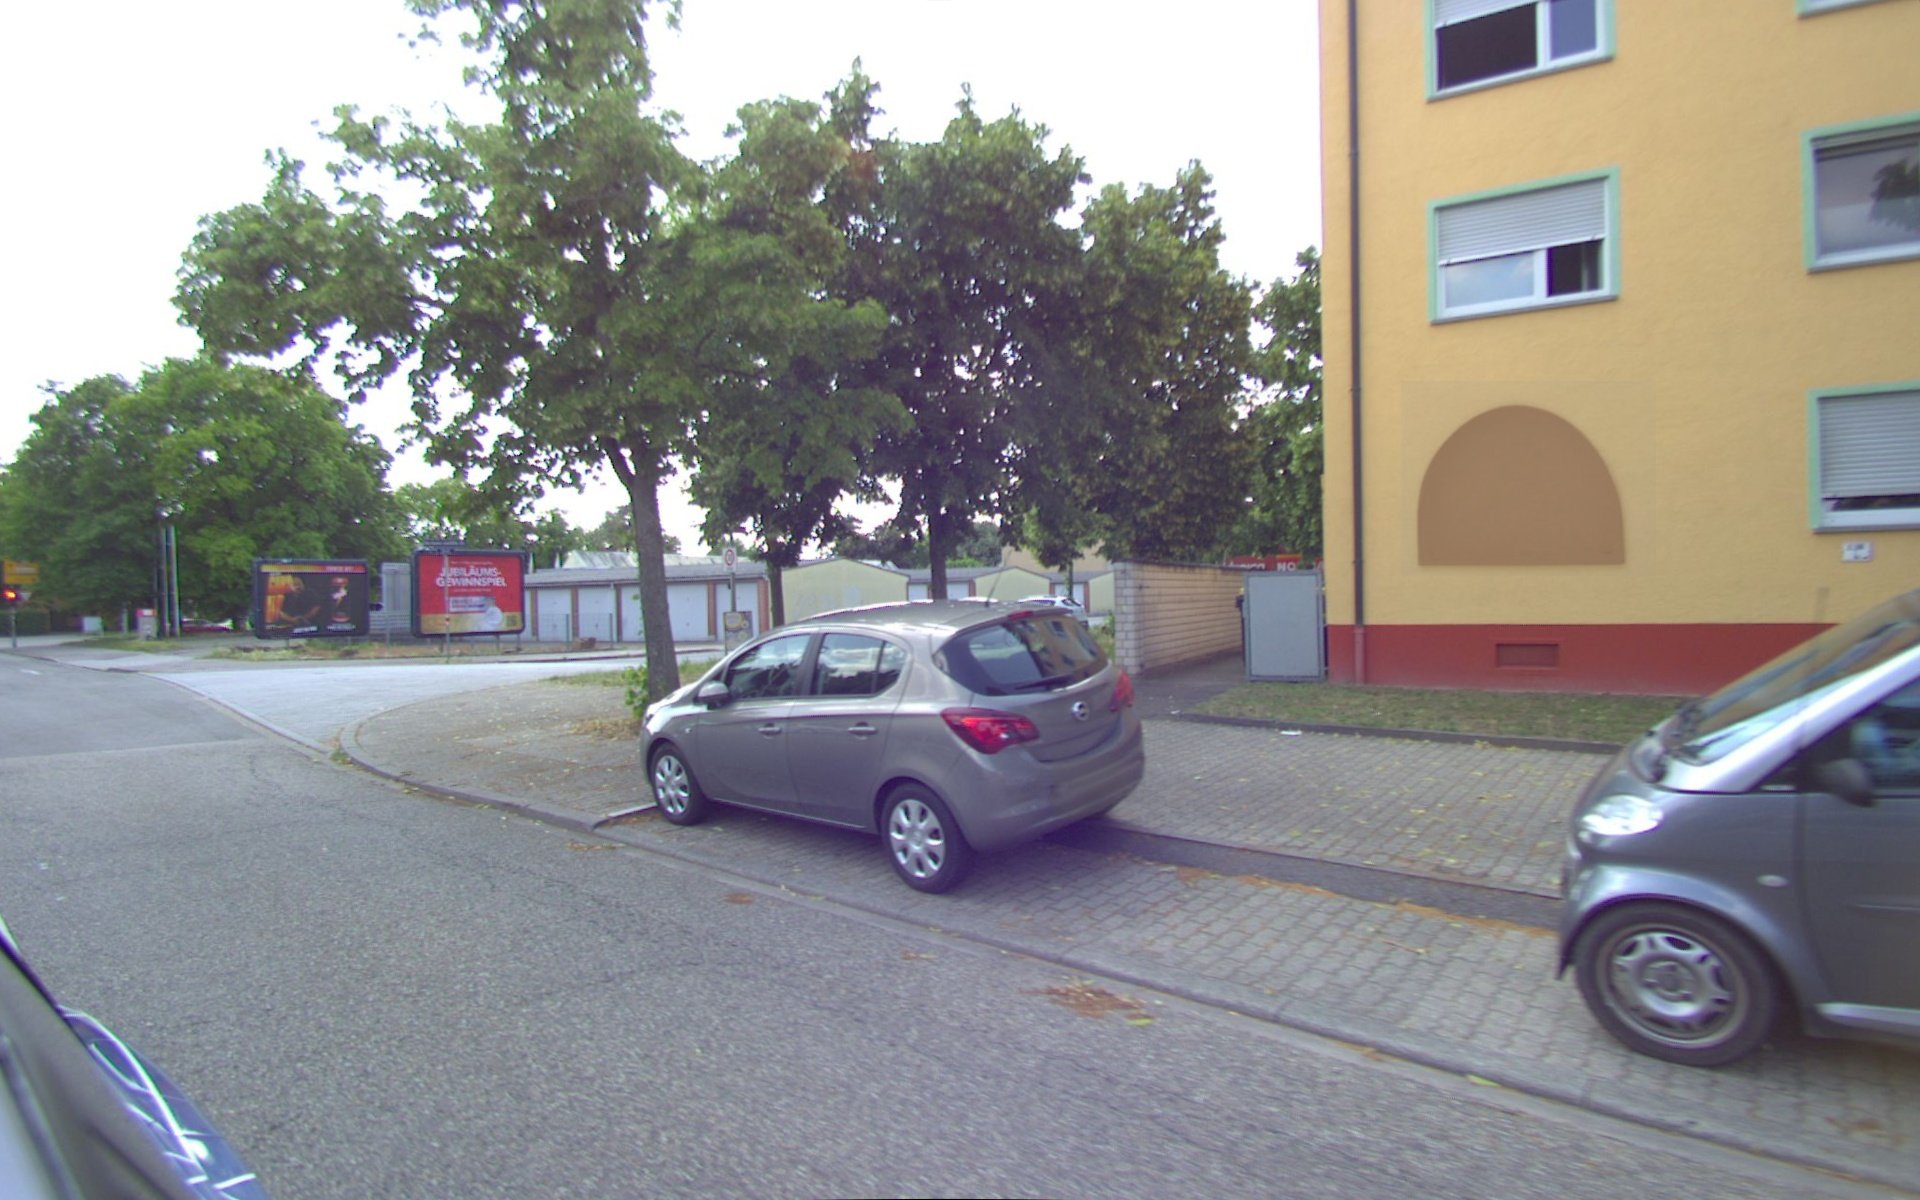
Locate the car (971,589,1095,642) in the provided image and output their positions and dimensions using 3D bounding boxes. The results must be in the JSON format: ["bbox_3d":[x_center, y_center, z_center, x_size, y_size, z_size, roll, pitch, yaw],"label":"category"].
[{"bbox_3d":[2.488,0.543,34.549,3.876,1.603,1.639,-3,-2,24],"label":"car"}]

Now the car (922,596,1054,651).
[{"bbox_3d":[0.893,0.751,32.398,3.876,1.550,1.639,-3,-2,24],"label":"car"}]

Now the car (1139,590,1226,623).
[{"bbox_3d":[11.958,0.364,54.486,4.245,1.493,1.634,-4,-2,32],"label":"car"}]

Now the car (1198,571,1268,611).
[{"bbox_3d":[18.338,-0.601,68.006,4.238,2.547,1.837,-1,-1,27],"label":"car"}]

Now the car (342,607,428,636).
[{"bbox_3d":[-35.627,1.324,62.684,4.526,1.608,2.141,-2,0,18],"label":"car"}]

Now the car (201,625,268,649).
[{"bbox_3d":[-62.594,3.171,87.381,4.468,1.790,1.730,-2,0,-45],"label":"car"}]

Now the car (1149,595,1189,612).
[{"bbox_3d":[20.785,0.355,100.541,3.613,1.576,1.471,-2,-1,28],"label":"car"}]

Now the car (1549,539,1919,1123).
[{"bbox_3d":[3.906,0.599,2.737,3.752,1.560,1.503,-2,4,40],"label":"car"}]

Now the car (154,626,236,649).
[{"bbox_3d":[-55.529,2.678,73.563,1.720,1.473,4.493,1,0,27],"label":"car"}]

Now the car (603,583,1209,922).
[{"bbox_3d":[-0.574,0.692,6.657,3.984,1.497,1.666,0,4,43],"label":"car"}]

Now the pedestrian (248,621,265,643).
[{"bbox_3d":[-51.225,2.315,73.704,0.720,1.543,0.757,-2,-1,12],"label":"pedestrian"}]
